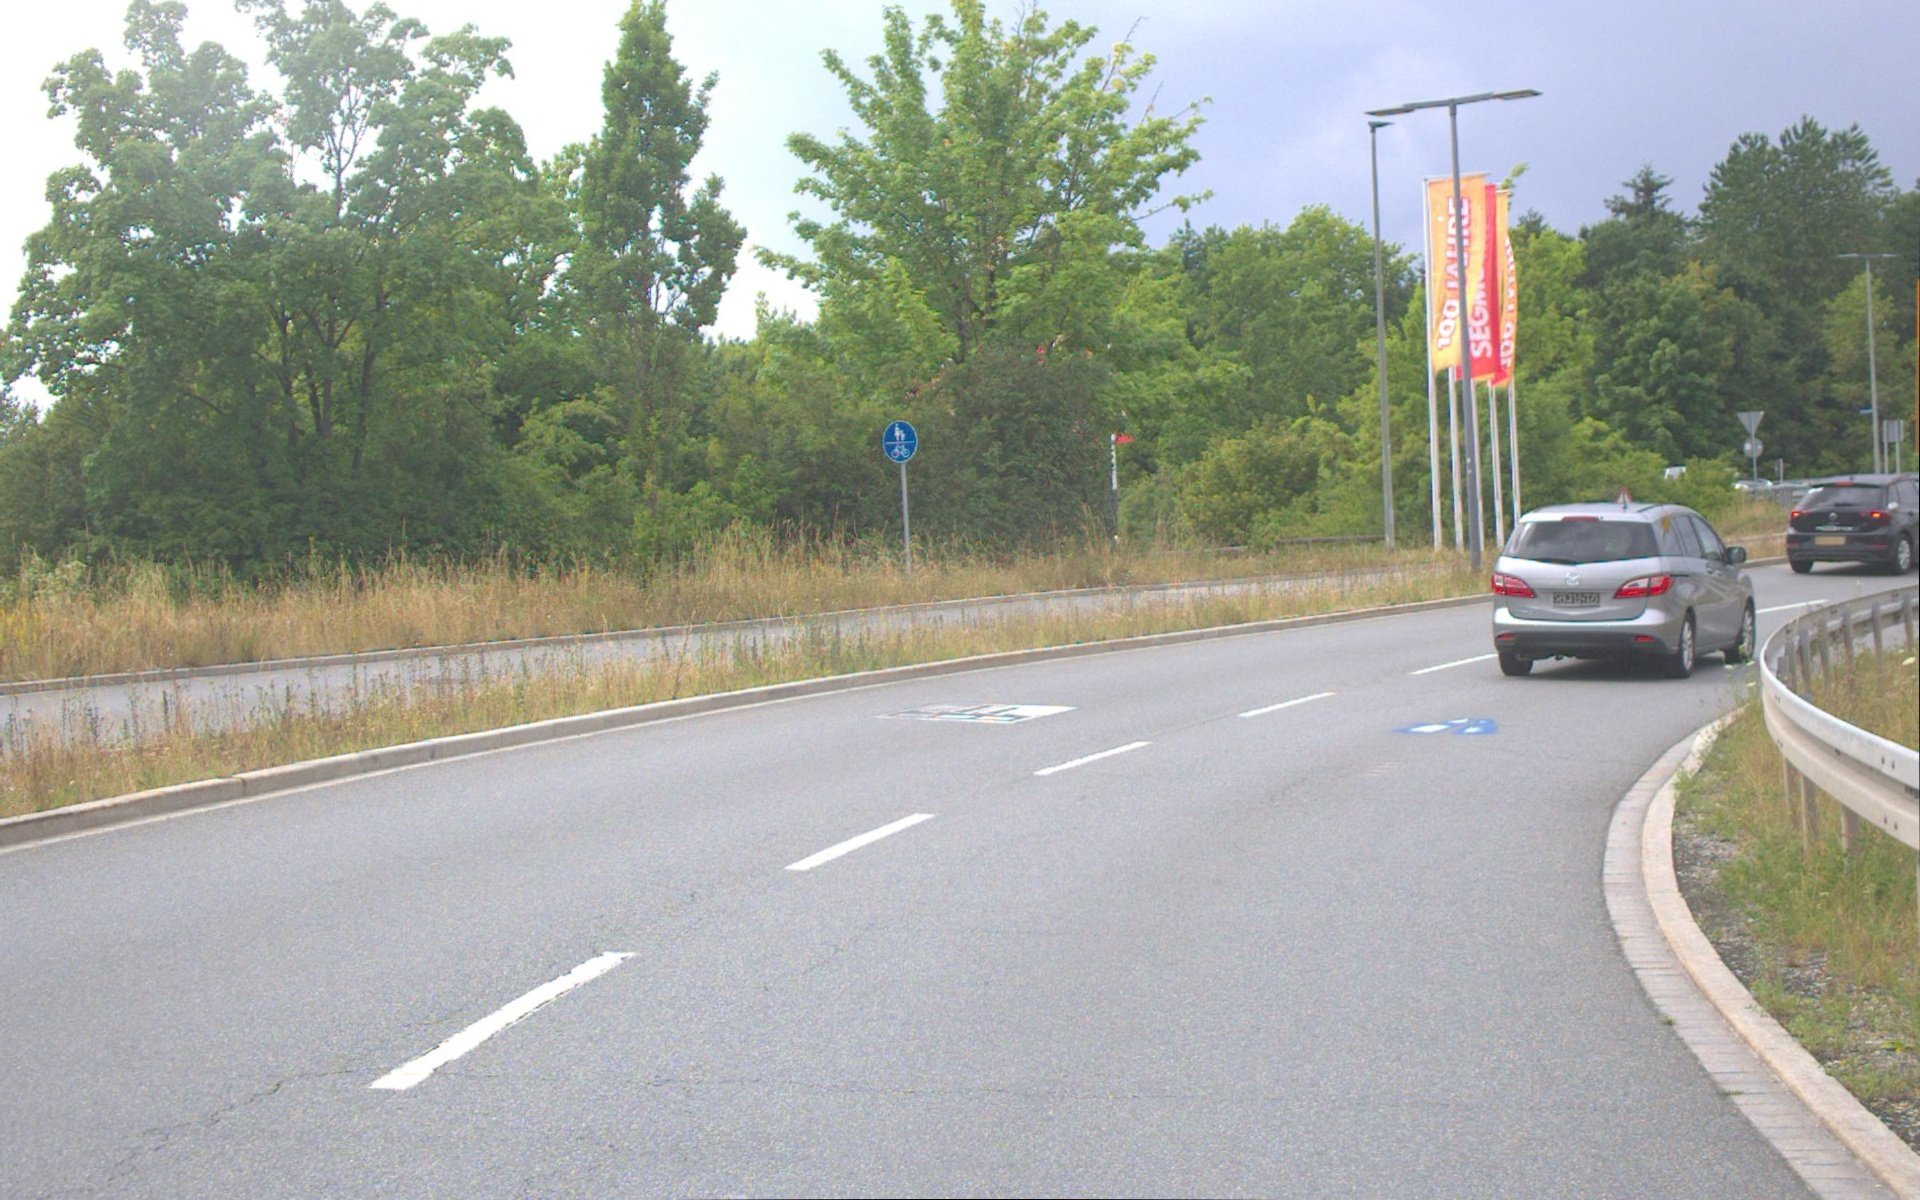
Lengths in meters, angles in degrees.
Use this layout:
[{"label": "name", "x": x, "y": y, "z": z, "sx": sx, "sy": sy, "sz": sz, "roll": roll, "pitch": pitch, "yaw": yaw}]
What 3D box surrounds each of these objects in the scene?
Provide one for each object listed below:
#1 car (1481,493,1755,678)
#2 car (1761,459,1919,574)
[{"label": "car", "x": 6.335, "y": -0.087, "z": 32.781, "sx": 1.769, "sy": 1.611, "sz": 3.916, "roll": 0, "pitch": -2, "yaw": 23}, {"label": "car", "x": 13.493, "y": -1.239, "z": 51.194, "sx": 1.872, "sy": 1.600, "sz": 3.728, "roll": -1, "pitch": 1, "yaw": 33}]
